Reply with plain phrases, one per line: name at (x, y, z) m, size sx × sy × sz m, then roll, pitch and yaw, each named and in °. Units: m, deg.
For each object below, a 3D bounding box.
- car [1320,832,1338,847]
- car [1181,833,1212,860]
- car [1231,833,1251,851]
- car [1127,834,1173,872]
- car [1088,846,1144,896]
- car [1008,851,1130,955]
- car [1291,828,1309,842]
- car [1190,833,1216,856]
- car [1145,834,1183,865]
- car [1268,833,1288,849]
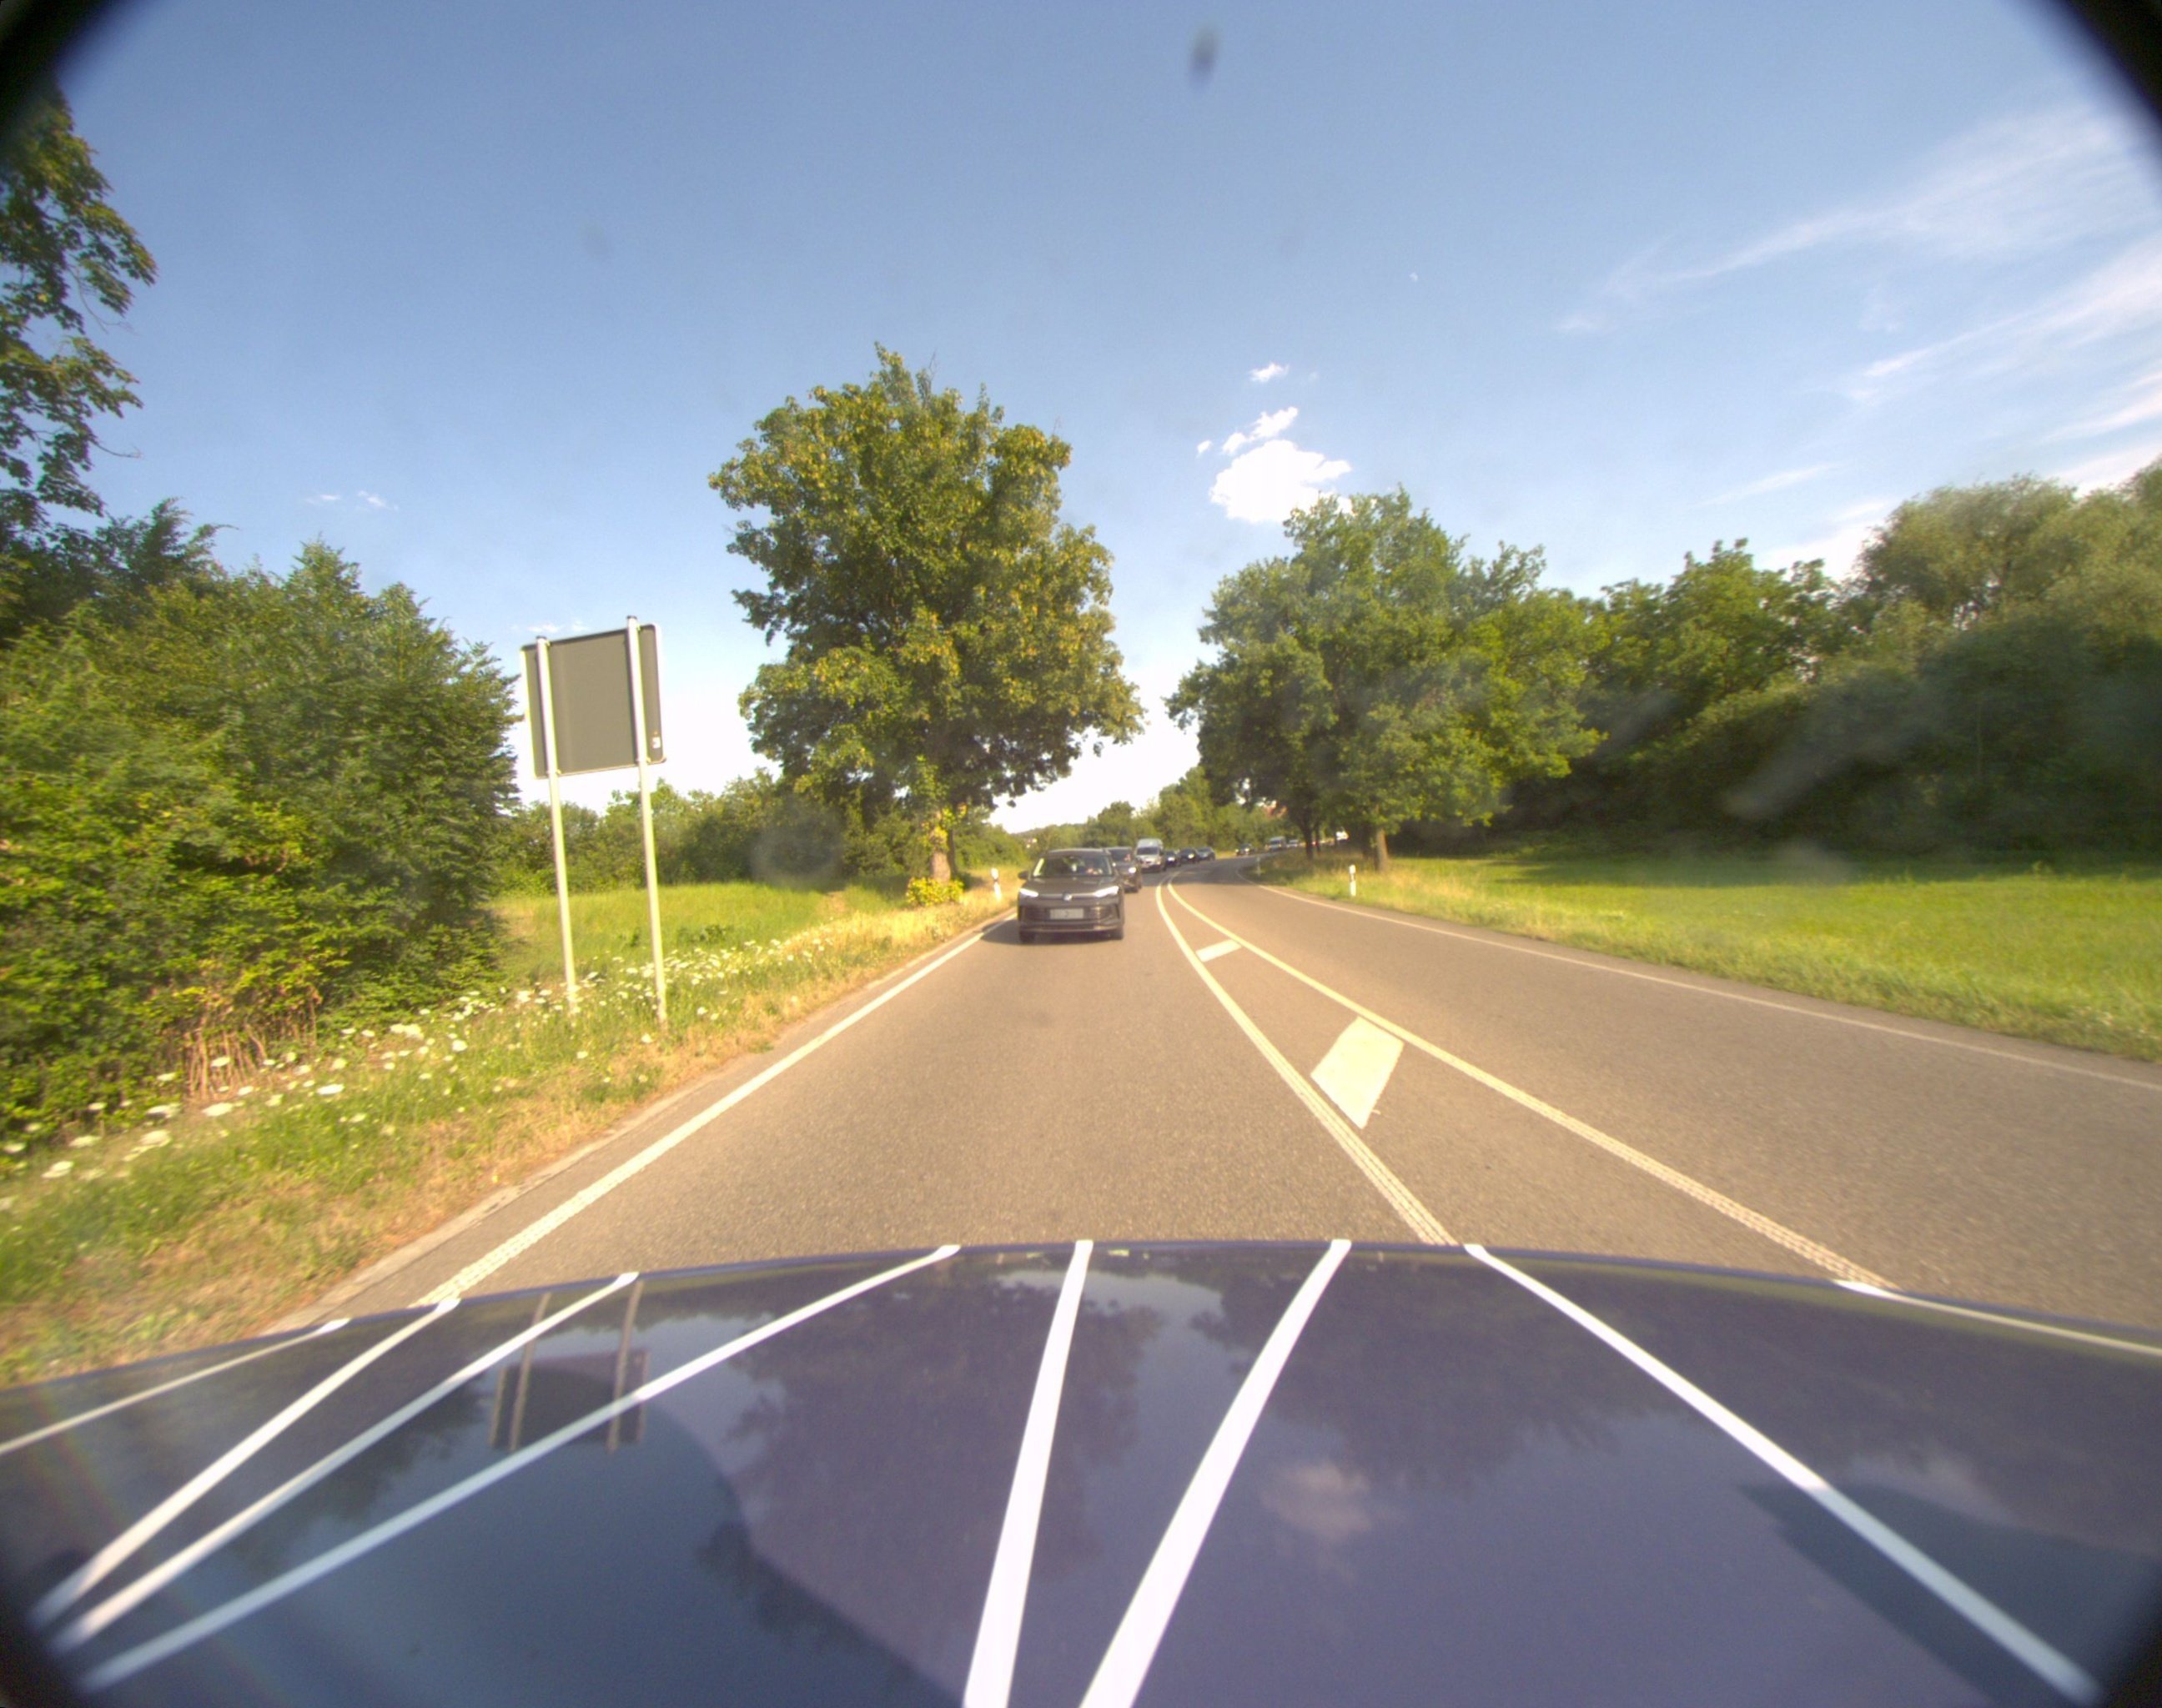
car at (45.469, -2.676, 139.097) m, size 2.084 × 2.403 × 5.150 m, roll -2°, pitch 1°, yaw 29°
car at (11.096, -0.772, 72.783) m, size 2.086 × 2.403 × 5.147 m, roll -2°, pitch 1°, yaw 17°
car at (22.076, -1.689, 104.558) m, size 2.086 × 2.403 × 5.147 m, roll -2°, pitch 1°, yaw 17°
car at (4.802, -0.109, 52.293) m, size 2.086 × 2.403 × 5.147 m, roll -2°, pitch 1°, yaw 16°
car at (1.385, 0.592, 29.386) m, size 1.922 × 1.719 × 4.702 m, roll -3°, pitch 0°, yaw 4°
car at (-0.048, 0.800, 14.777) m, size 1.922 × 1.612 × 4.702 m, roll -3°, pitch 0°, yaw 4°
car at (41.158, -3.515, 142.406) m, size 2.084 × 2.403 × 5.150 m, roll -2°, pitch 1°, yaw 29°
car at (13.648, -1.083, 84.569) m, size 2.086 × 2.403 × 5.147 m, roll -2°, pitch 1°, yaw 17°
car at (6.970, -0.406, 63.282) m, size 2.086 × 2.403 × 5.147 m, roll -2°, pitch 1°, yaw 17°
car at (33.675, -2.256, 129.684) m, size 2.084 × 2.403 × 5.150 m, roll -2°, pitch 1°, yaw 29°
